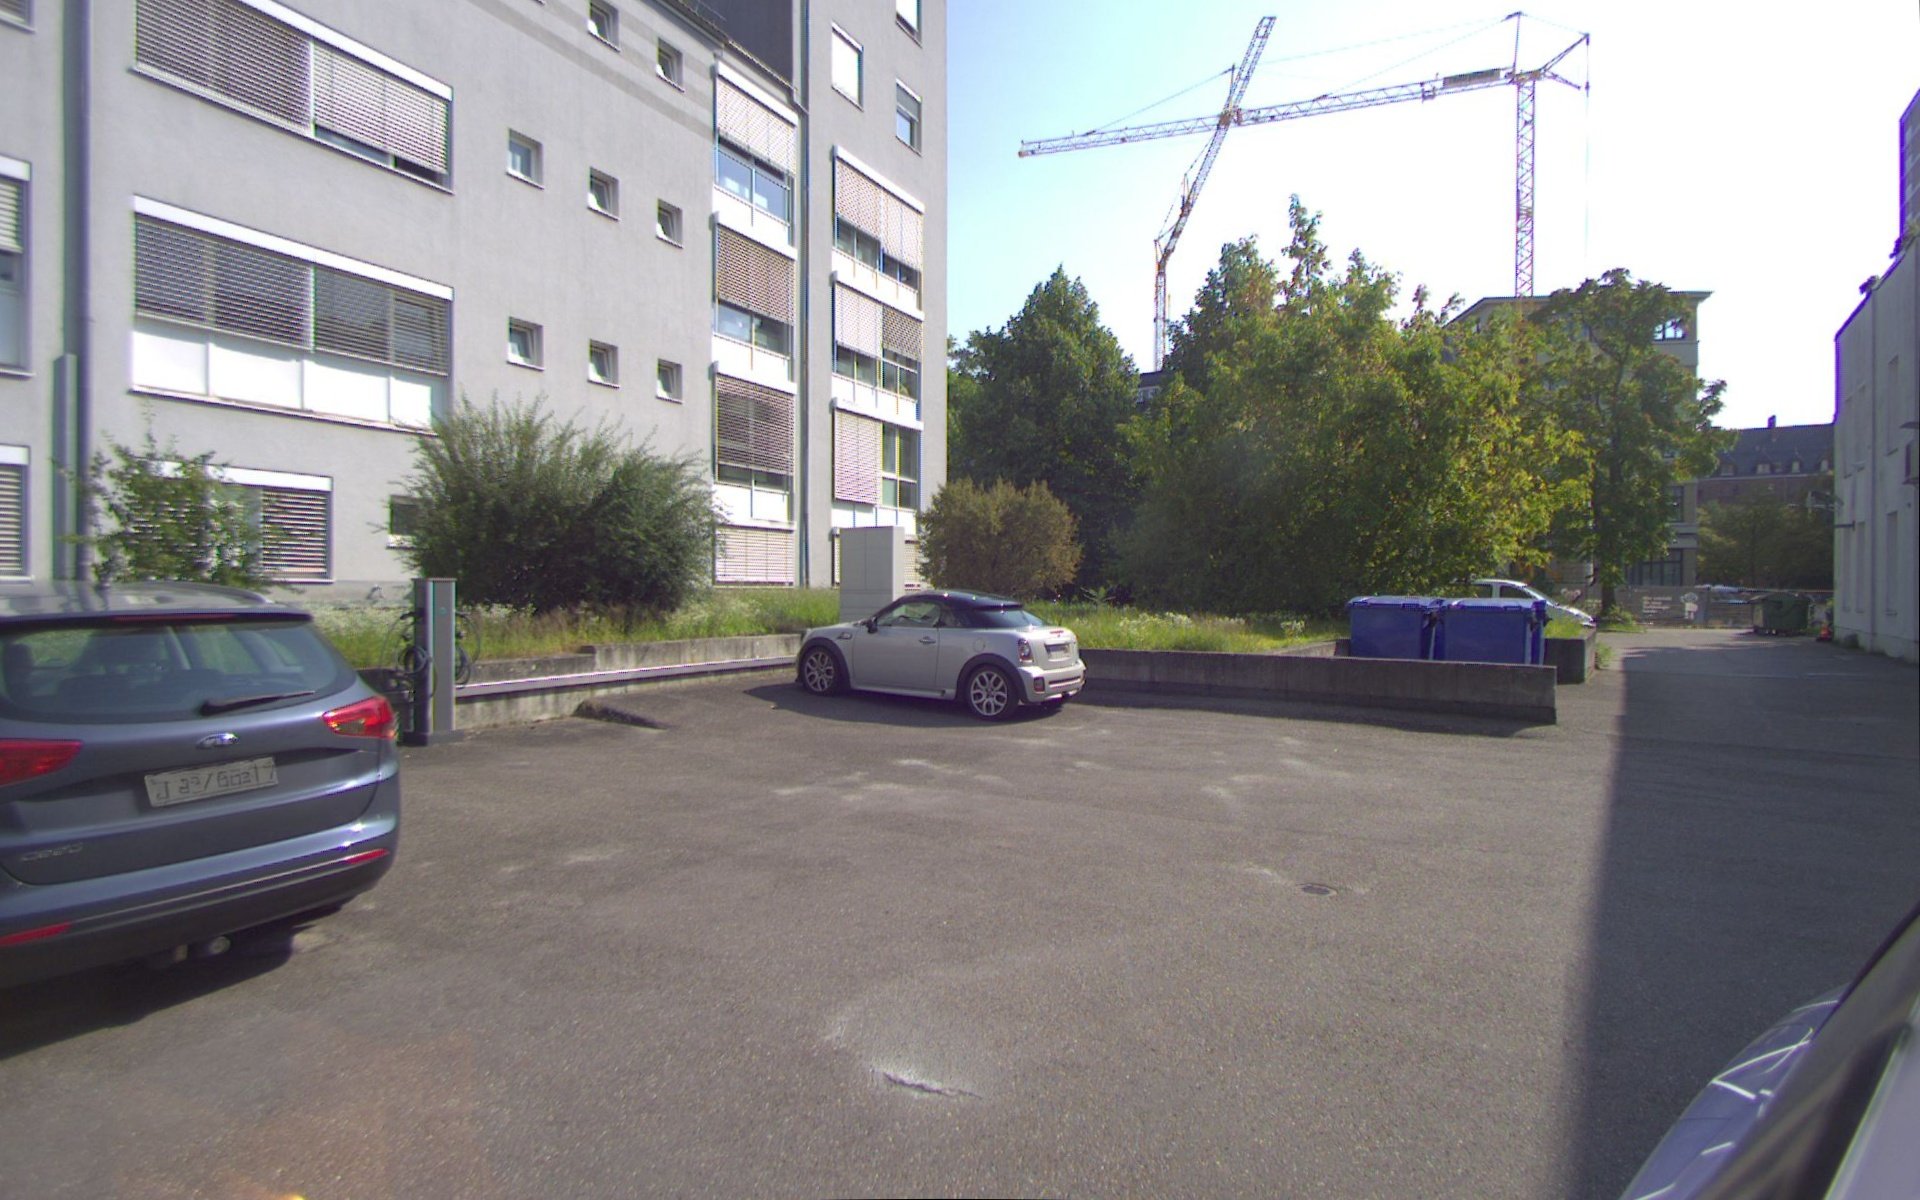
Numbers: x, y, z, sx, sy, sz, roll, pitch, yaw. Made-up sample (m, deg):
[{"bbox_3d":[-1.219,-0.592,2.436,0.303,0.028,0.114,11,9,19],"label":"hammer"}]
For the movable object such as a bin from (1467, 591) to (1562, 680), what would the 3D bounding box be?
[{"bbox_3d":[8.856,0.529,16.144,1.193,1.344,1.259,0,0,36],"label":"movable object such as a bin"}]

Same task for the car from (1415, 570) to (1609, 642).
[{"bbox_3d":[16.127,0.127,29.686,4.767,1.956,1.883,1,0,38],"label":"car"}]

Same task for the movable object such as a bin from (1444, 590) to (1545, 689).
[{"bbox_3d":[7.881,0.542,14.905,1.206,1.368,1.260,0,0,33],"label":"movable object such as a bin"}]

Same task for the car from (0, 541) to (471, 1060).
[{"bbox_3d":[-4.195,0.548,4.479,4.026,1.496,1.724,1,0,30],"label":"car"}]

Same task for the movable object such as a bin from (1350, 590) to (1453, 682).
[{"bbox_3d":[6.854,0.518,15.696,1.250,1.344,1.259,0,0,36],"label":"movable object such as a bin"}]

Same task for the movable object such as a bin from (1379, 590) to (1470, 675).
[{"bbox_3d":[7.777,0.511,16.931,1.193,1.344,1.259,0,0,36],"label":"movable object such as a bin"}]

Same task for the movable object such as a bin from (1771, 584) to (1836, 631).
[{"bbox_3d":[27.464,0.217,32.974,1.516,1.484,1.259,0,0,35],"label":"movable object such as a bin"}]

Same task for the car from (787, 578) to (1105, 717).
[{"bbox_3d":[-0.209,0.475,12.270,3.554,1.455,1.640,1,0,32],"label":"car"}]
